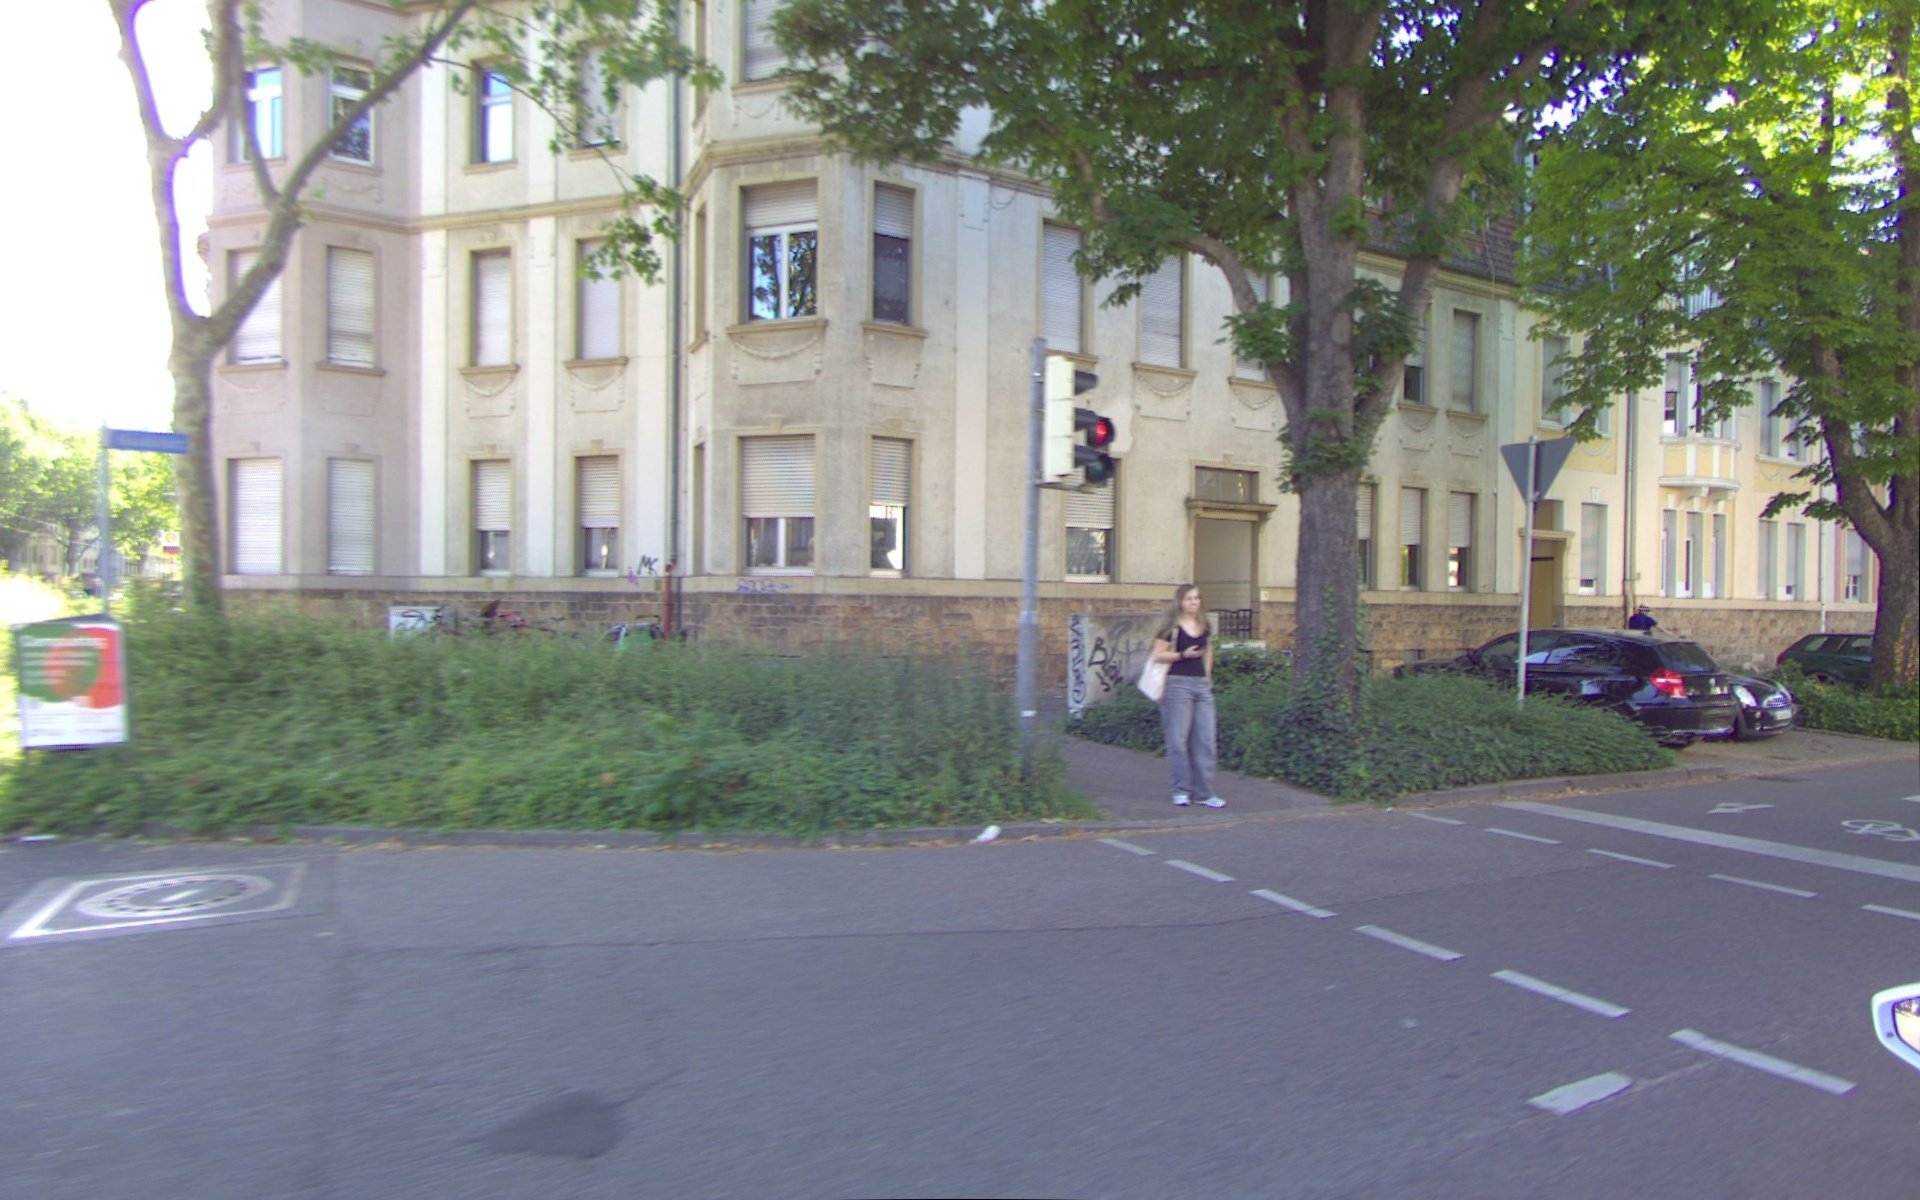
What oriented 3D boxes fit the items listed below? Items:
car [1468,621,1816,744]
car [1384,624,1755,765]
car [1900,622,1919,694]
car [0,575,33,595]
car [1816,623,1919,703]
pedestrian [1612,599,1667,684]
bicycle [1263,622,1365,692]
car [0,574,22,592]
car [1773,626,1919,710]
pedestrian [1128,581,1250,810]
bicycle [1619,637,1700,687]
[{"bbox_3d":[9.664,1.078,14.545,1.598,1.434,3.860,1,0,-32],"label":"car"},{"bbox_3d":[7.636,1.081,12.994,1.594,1.495,3.868,1,-1,-27],"label":"car"},{"bbox_3d":[21.580,1.266,19.878,1.761,1.502,3.974,1,0,-25],"label":"car"},{"bbox_3d":[-86.712,-1.322,90.323,1.810,1.729,4.589,2,2,23],"label":"car"},{"bbox_3d":[19.135,1.268,19.498,1.680,1.471,3.424,2,0,-24],"label":"car"},{"bbox_3d":[13.625,0.826,20.141,0.881,1.680,0.459,1,0,-19],"label":"pedestrian"},{"bbox_3d":[6.387,1.003,18.085,1.957,1.170,0.512,0,3,-27],"label":"bicycle"},{"bbox_3d":[-95.772,-1.651,99.752,3.782,1.729,1.822,-1,3,-44],"label":"car"},{"bbox_3d":[17.378,1.245,17.883,1.681,1.367,4.196,2,0,-27],"label":"car"},{"bbox_3d":[1.793,0.718,7.919,0.669,1.704,0.693,1,0,-16],"label":"pedestrian"},{"bbox_3d":[13.693,1.206,19.662,1.572,0.924,0.471,1,0,-20],"label":"bicycle"}]
